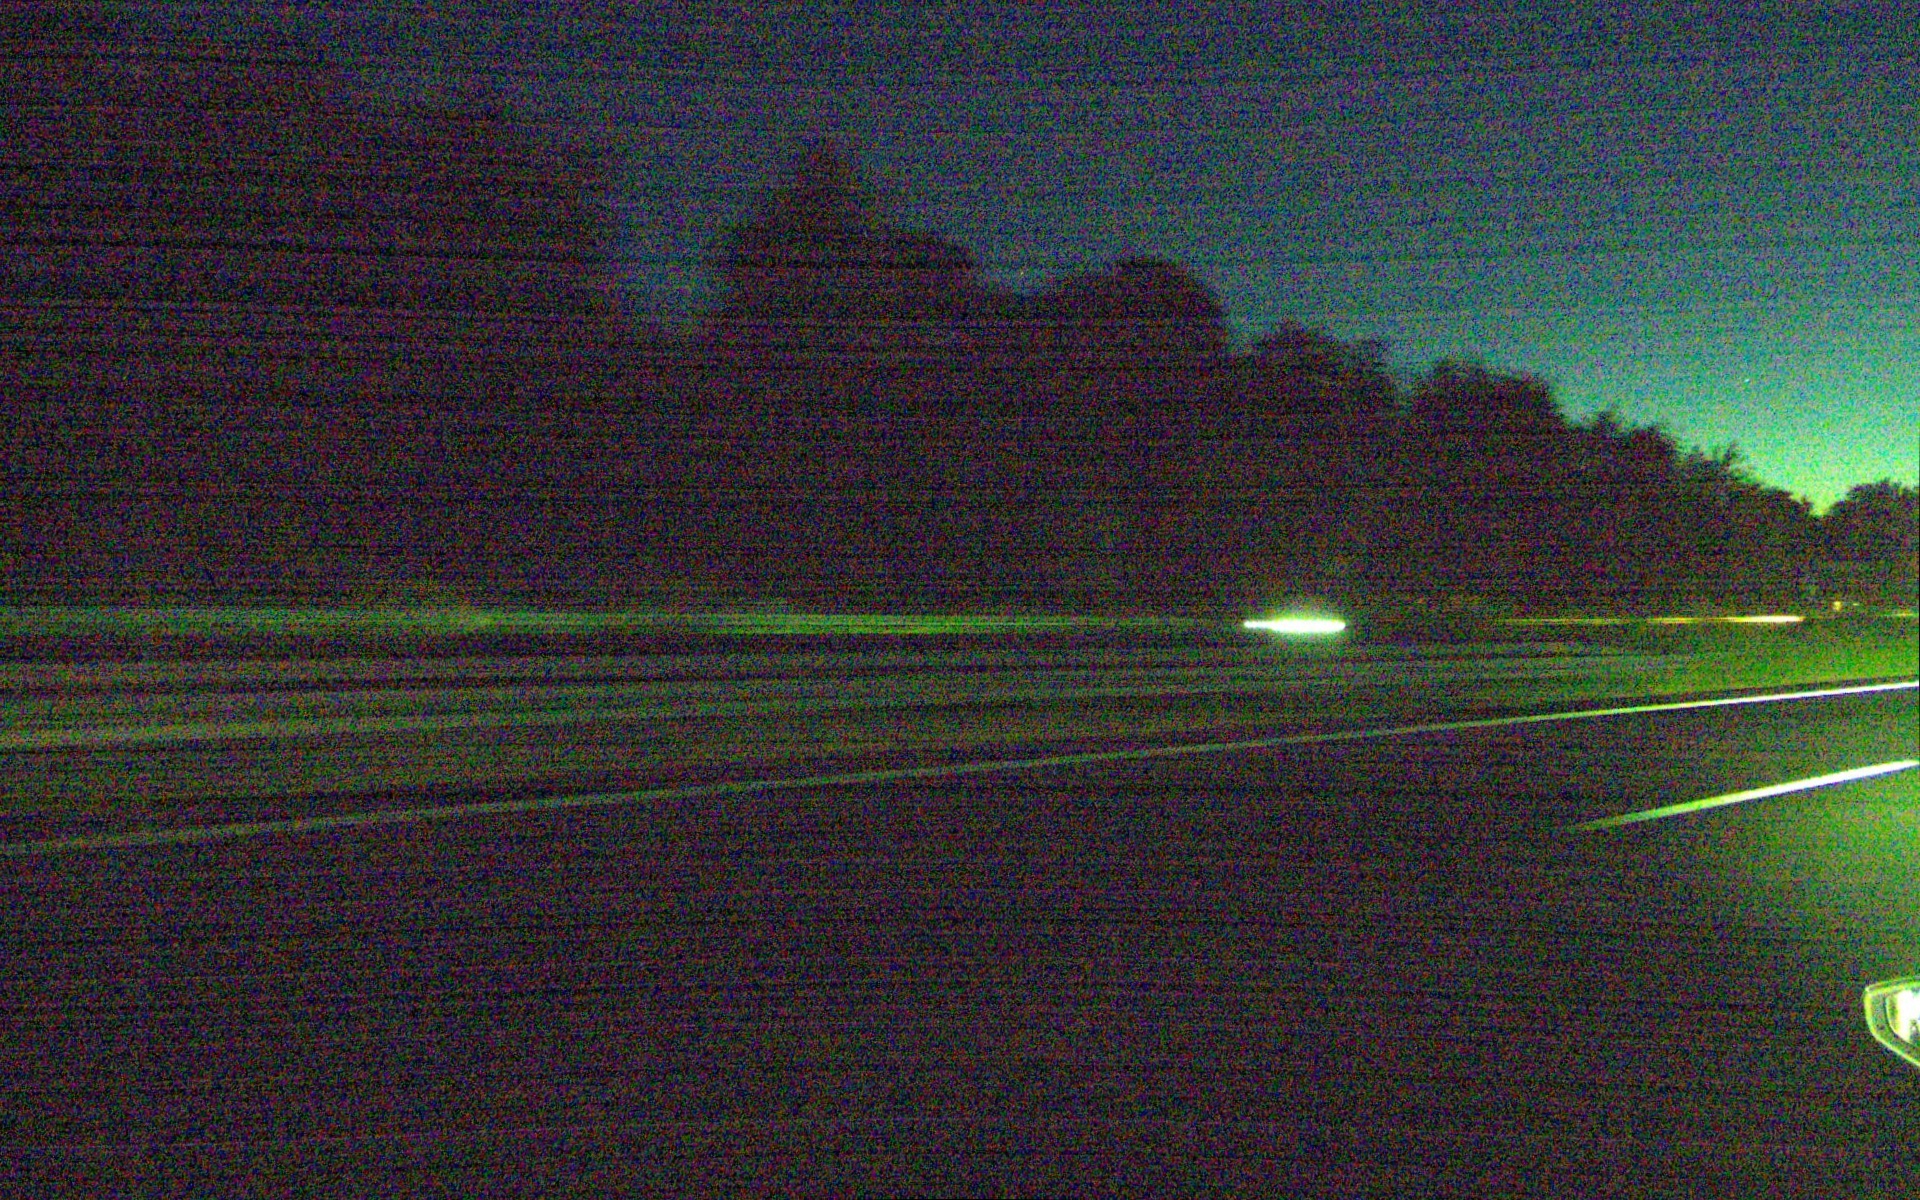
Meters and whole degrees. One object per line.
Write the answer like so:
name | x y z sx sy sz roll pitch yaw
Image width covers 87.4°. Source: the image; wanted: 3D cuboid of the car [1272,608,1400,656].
car | 12.911 1.079 34.433 4.270 1.528 1.981 1 0 -34
